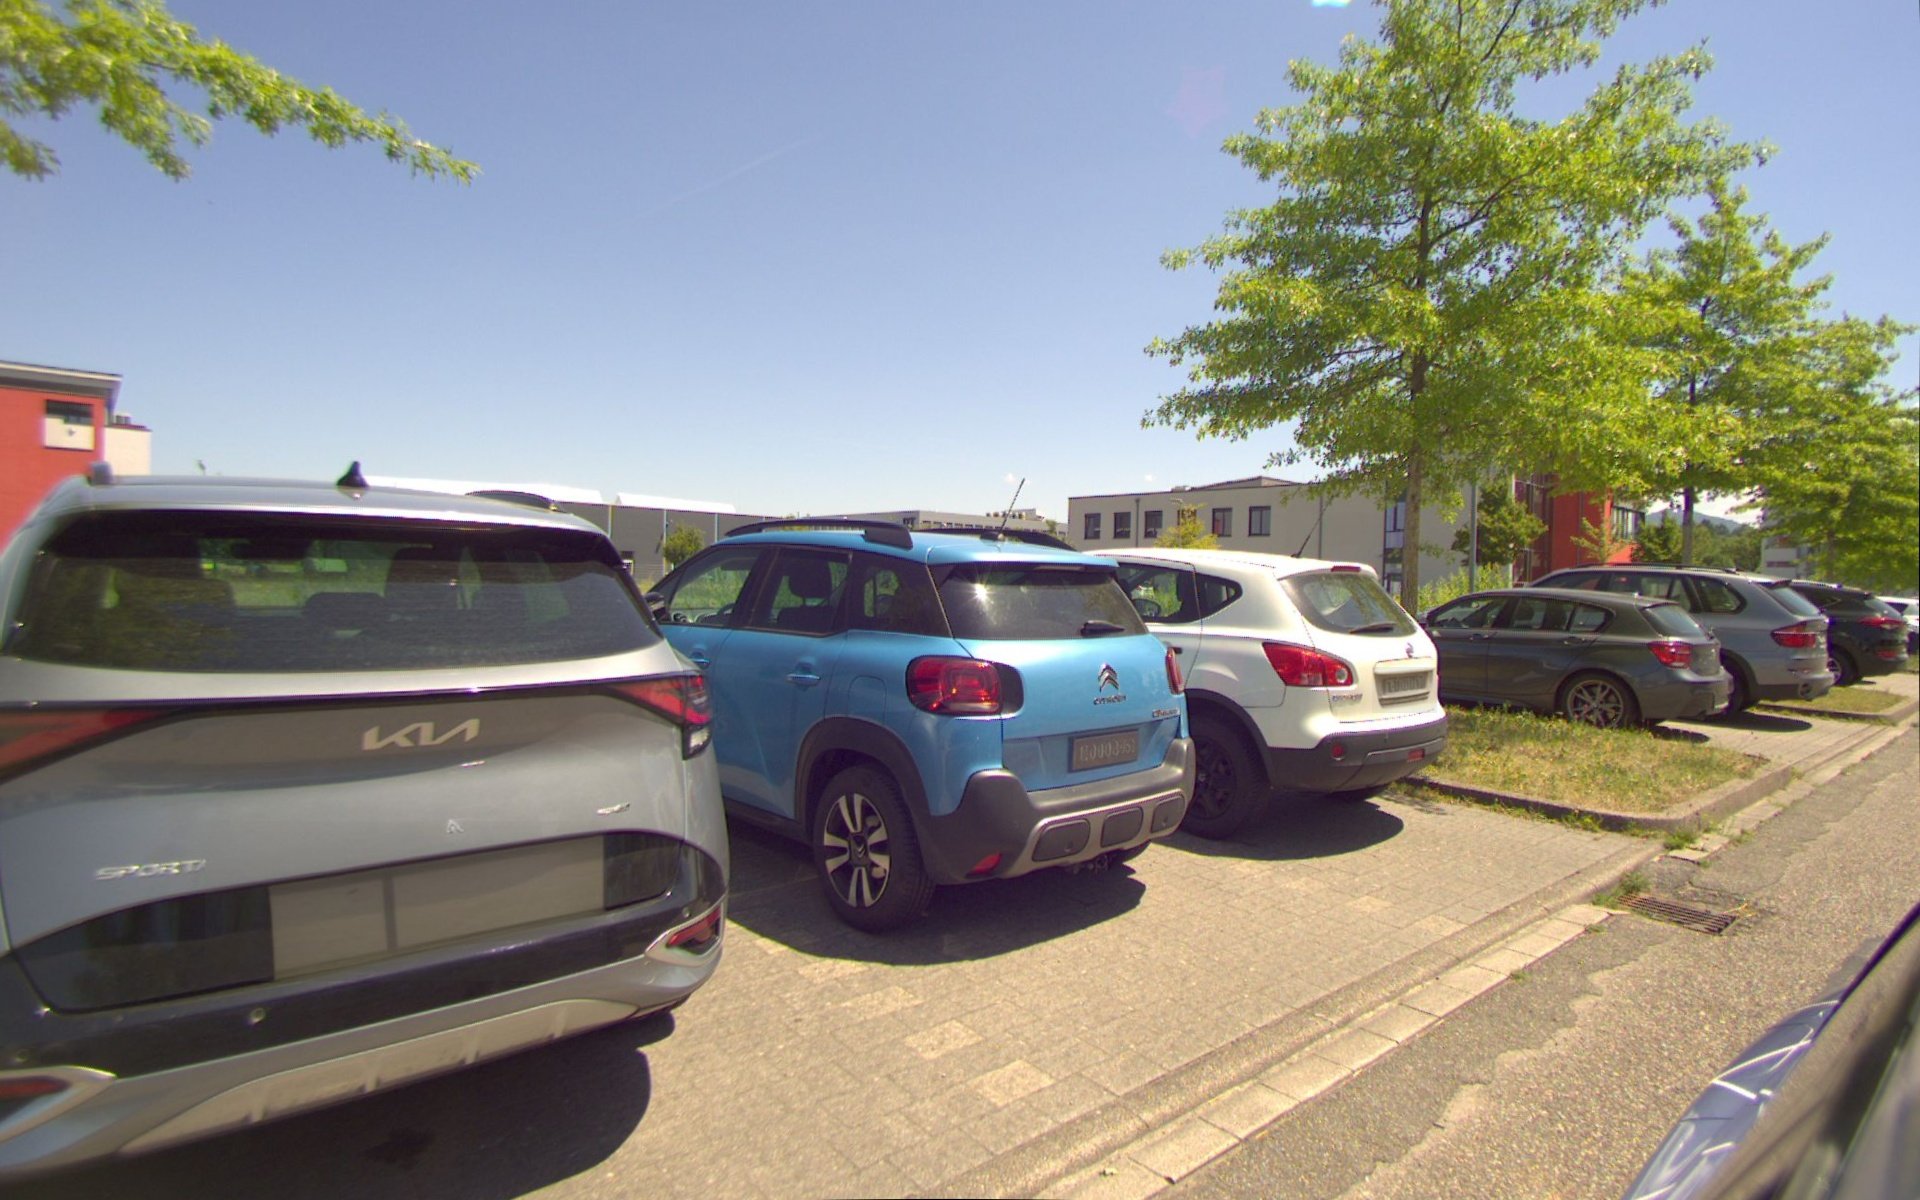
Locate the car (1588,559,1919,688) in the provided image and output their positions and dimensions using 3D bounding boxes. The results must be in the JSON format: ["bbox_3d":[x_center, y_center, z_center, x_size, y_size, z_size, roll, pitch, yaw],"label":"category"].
[{"bbox_3d":[12.983,0.273,16.591,1.751,1.717,4.182,0,3,-41],"label":"car"}]

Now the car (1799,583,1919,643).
[{"bbox_3d":[28.143,0.423,30.061,1.882,1.580,4.722,0,4,-44],"label":"car"}]

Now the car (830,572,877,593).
[{"bbox_3d":[-8.344,-1.384,79.140,1.689,1.528,3.996,0,2,-40],"label":"car"}]

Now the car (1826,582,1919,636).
[{"bbox_3d":[31.587,0.323,33.577,1.663,1.645,4.057,1,3,-40],"label":"car"}]

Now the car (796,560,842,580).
[{"bbox_3d":[-10.883,-2.329,77.950,1.689,1.470,3.996,0,2,-40],"label":"car"}]

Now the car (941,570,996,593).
[{"bbox_3d":[0.607,-1.327,72.914,1.689,1.528,3.994,0,2,-41],"label":"car"}]

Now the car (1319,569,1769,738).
[{"bbox_3d":[6.321,0.428,11.300,1.876,1.426,3.931,-1,4,-40],"label":"car"}]

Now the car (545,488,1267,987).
[{"bbox_3d":[-0.624,0.353,5.475,1.806,1.664,3.995,0,3,-41],"label":"car"}]

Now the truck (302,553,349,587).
[{"bbox_3d":[-41.130,-1.958,65.548,1.965,2.038,3.995,1,2,-41],"label":"truck"}]

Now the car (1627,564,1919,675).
[{"bbox_3d":[14.865,0.267,18.680,1.750,1.698,3.885,0,3,-40],"label":"car"}]

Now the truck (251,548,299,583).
[{"bbox_3d":[-42.962,-2.184,63.436,1.965,2.038,4.351,1,2,-41],"label":"truck"}]

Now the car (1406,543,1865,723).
[{"bbox_3d":[8.347,0.258,12.846,1.959,1.790,4.457,0,3,-42],"label":"car"}]

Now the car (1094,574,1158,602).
[{"bbox_3d":[9.661,-0.715,58.991,1.689,1.528,3.330,0,2,-40],"label":"car"}]

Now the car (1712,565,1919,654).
[{"bbox_3d":[21.125,0.179,24.439,1.763,1.852,4.415,0,3,-39],"label":"car"}]

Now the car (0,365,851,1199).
[{"bbox_3d":[-2.352,0.358,3.518,1.818,1.664,4.290,0,3,-40],"label":"car"}]

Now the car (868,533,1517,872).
[{"bbox_3d":[1.304,0.382,7.046,1.868,1.627,4.078,-1,3,-40],"label":"car"}]

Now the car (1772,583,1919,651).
[{"bbox_3d":[23.342,0.414,25.930,1.646,1.521,3.641,0,3,-39],"label":"car"}]

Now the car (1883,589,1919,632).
[{"bbox_3d":[37.174,0.463,37.655,1.745,1.572,3.848,2,2,-35],"label":"car"}]
